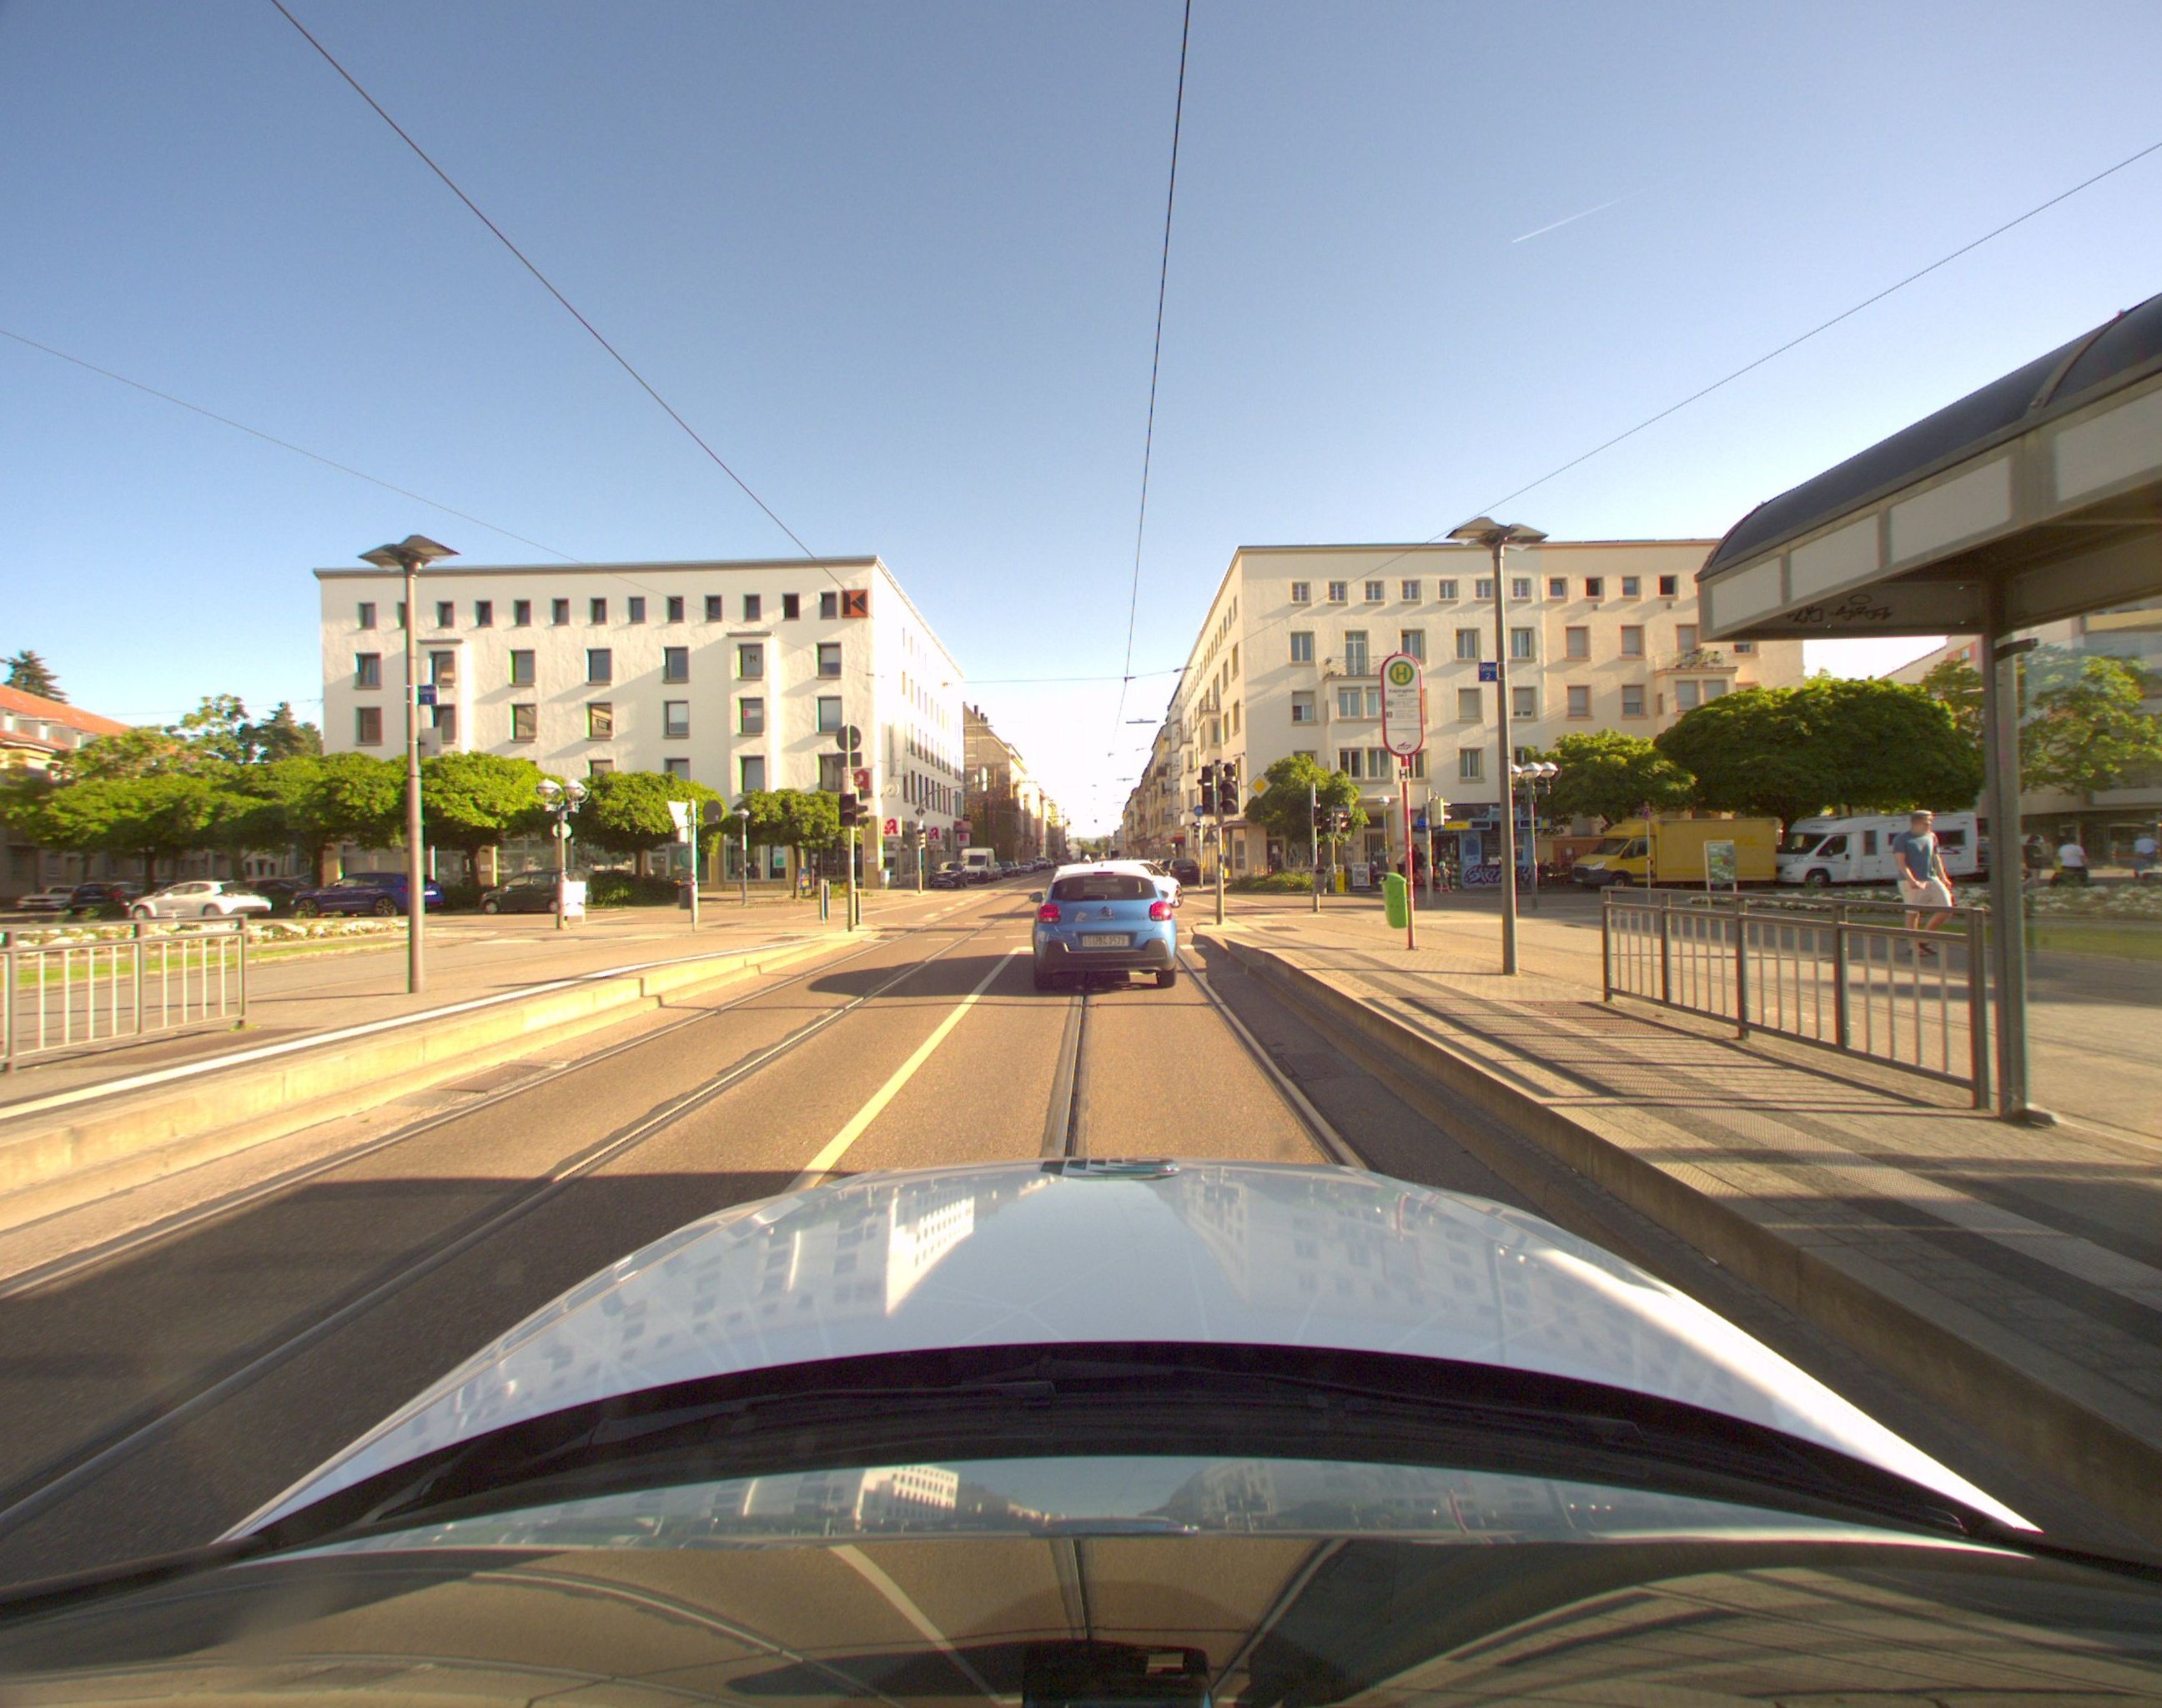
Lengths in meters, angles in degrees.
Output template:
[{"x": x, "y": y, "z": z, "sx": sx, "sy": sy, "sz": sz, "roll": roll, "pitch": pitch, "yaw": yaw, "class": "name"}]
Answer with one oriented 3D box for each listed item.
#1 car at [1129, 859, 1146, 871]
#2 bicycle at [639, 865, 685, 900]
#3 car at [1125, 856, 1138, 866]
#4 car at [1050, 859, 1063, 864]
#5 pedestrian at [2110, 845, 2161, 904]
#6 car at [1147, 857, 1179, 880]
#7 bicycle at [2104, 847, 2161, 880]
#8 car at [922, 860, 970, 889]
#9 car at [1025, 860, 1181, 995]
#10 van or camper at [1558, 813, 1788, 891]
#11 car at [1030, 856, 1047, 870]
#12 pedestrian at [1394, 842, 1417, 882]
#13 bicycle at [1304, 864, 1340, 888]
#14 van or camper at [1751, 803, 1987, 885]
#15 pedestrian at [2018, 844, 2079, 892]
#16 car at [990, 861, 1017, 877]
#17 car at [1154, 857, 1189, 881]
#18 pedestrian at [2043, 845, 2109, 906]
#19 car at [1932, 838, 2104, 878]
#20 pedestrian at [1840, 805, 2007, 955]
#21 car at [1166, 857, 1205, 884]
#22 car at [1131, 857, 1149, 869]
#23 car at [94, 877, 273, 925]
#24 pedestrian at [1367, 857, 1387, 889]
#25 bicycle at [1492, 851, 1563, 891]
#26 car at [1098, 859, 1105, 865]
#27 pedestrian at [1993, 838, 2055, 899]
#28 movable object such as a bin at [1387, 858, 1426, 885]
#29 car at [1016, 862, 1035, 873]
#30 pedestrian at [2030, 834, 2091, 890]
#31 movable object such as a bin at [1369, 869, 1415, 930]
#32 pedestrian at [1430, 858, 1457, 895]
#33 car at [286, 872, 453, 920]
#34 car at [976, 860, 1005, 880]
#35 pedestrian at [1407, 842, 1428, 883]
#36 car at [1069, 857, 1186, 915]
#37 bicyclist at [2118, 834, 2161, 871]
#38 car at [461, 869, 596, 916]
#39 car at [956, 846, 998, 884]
[{"x": 7.163, "y": 1.403, "z": 104.091, "sx": 1.986, "sy": 1.464, "sz": 4.002, "roll": -1, "pitch": -1, "yaw": 2, "class": "car"}, {"x": -20.055, "y": 1.345, "z": 39.058, "sx": 0.615, "sy": 1.607, "sz": 2.624, "roll": -1, "pitch": -1, "yaw": 6, "class": "bicycle"}, {"x": 7.936, "y": 1.091, "z": 128.649, "sx": 1.986, "sy": 1.464, "sz": 4.002, "roll": -1, "pitch": -1, "yaw": 2, "class": "car"}, {"x": -5.353, "y": 1.703, "z": 180.538, "sx": 1.981, "sy": 1.156, "sz": 4.528, "roll": -1, "pitch": 0, "yaw": 11, "class": "car"}, {"x": 28.989, "y": 0.545, "z": 22.219, "sx": 0.897, "sy": 1.585, "sz": 0.663, "roll": -1, "pitch": -1, "yaw": 5, "class": "pedestrian"}, {"x": 5.841, "y": 1.009, "z": 58.313, "sx": 1.986, "sy": 1.501, "sz": 4.002, "roll": -1, "pitch": -1, "yaw": 2, "class": "car"}, {"x": 35.697, "y": 0.322, "z": 27.208, "sx": 2.310, "sy": 1.061, "sz": 0.720, "roll": 0, "pitch": 0, "yaw": -4, "class": "bicycle"}, {"x": -7.896, "y": 1.183, "z": 48.092, "sx": 1.987, "sy": 1.569, "sz": 4.403, "roll": 2, "pitch": -1, "yaw": 1, "class": "car"}, {"x": 0.295, "y": 0.836, "z": 10.971, "sx": 1.721, "sy": 1.482, "sz": 3.828, "roll": 0, "pitch": 0, "yaw": 1, "class": "car"}, {"x": 22.648, "y": -0.094, "z": 31.411, "sx": 7.094, "sy": 2.747, "sz": 2.372, "roll": -1, "pitch": 1, "yaw": 2, "class": "van or camper"}, {"x": -6.425, "y": 1.351, "z": 122.648, "sx": 1.997, "sy": 2.014, "sz": 4.693, "roll": 0, "pitch": -1, "yaw": 3, "class": "car"}, {"x": 15.001, "y": 0.358, "z": 37.610, "sx": 0.781, "sy": 1.839, "sz": 0.679, "roll": -1, "pitch": -1, "yaw": 4, "class": "pedestrian"}, {"x": 11.204, "y": 1.020, "z": 37.861, "sx": 1.556, "sy": 1.120, "sz": 0.301, "roll": -1, "pitch": -1, "yaw": 12, "class": "bicycle"}, {"x": 29.913, "y": -0.347, "z": 31.124, "sx": 6.375, "sy": 2.839, "sz": 2.381, "roll": -1, "pitch": -1, "yaw": 5, "class": "van or camper"}, {"x": 26.857, "y": 0.380, "z": 22.616, "sx": 0.897, "sy": 1.279, "sz": 0.605, "roll": -1, "pitch": -1, "yaw": 4, "class": "pedestrian"}, {"x": -6.979, "y": 1.390, "z": 73.890, "sx": 1.987, "sy": 1.398, "sz": 4.157, "roll": 0, "pitch": -1, "yaw": 1, "class": "car"}, {"x": 5.860, "y": 0.946, "z": 53.079, "sx": 1.986, "sy": 1.464, "sz": 4.002, "roll": -1, "pitch": -1, "yaw": 2, "class": "car"}, {"x": 26.819, "y": 0.574, "z": 21.963, "sx": 0.897, "sy": 1.585, "sz": 0.663, "roll": -1, "pitch": -1, "yaw": 5, "class": "pedestrian"}, {"x": 36.457, "y": 0.180, "z": 31.813, "sx": 3.959, "sy": 1.512, "sz": 2.007, "roll": -1, "pitch": -1, "yaw": 13, "class": "car"}, {"x": 11.127, "y": 0.337, "z": 10.812, "sx": 0.978, "sy": 1.878, "sz": 1.128, "roll": -1, "pitch": -2, "yaw": -1, "class": "pedestrian"}, {"x": 6.063, "y": 0.952, "z": 47.795, "sx": 1.902, "sy": 1.464, "sz": 4.002, "roll": -1, "pitch": -1, "yaw": 2, "class": "car"}, {"x": 7.072, "y": 1.070, "z": 97.542, "sx": 1.986, "sy": 1.464, "sz": 4.507, "roll": -1, "pitch": 0, "yaw": 2, "class": "car"}, {"x": -33.722, "y": 1.742, "z": 30.686, "sx": 4.591, "sy": 1.606, "sz": 1.855, "roll": -1, "pitch": -1, "yaw": -1, "class": "car"}, {"x": 12.450, "y": 0.814, "z": 34.264, "sx": 0.733, "sy": 1.316, "sz": 0.631, "roll": -2, "pitch": -1, "yaw": 25, "class": "pedestrian"}, {"x": 17.509, "y": 0.663, "z": 31.964, "sx": 2.376, "sy": 1.531, "sz": 0.726, "roll": 0, "pitch": 0, "yaw": 0, "class": "bicycle"}, {"x": 6.288, "y": 2.550, "z": 249.357, "sx": 1.986, "sy": 1.772, "sz": 4.001, "roll": -1, "pitch": 0, "yaw": 2, "class": "car"}, {"x": 27.011, "y": 0.409, "z": 23.331, "sx": 0.897, "sy": 1.685, "sz": 0.696, "roll": -1, "pitch": -1, "yaw": 5, "class": "pedestrian"}, {"x": 14.152, "y": 0.760, "z": 35.432, "sx": 1.194, "sy": 1.153, "sz": 1.218, "roll": -1, "pitch": -1, "yaw": 2, "class": "movable object such as a bin"}, {"x": -6.722, "y": 1.596, "z": 98.944, "sx": 1.987, "sy": 1.325, "sz": 3.923, "roll": 0, "pitch": -1, "yaw": 1, "class": "car"}, {"x": 28.482, "y": 0.219, "z": 23.690, "sx": 0.897, "sy": 1.585, "sz": 0.663, "roll": -1, "pitch": -1, "yaw": 5, "class": "pedestrian"}, {"x": 4.189, "y": 0.606, "z": 11.003, "sx": 0.447, "sy": 0.786, "sz": 0.489, "roll": -1, "pitch": -1, "yaw": 4, "class": "movable object such as a bin"}, {"x": 14.198, "y": 0.869, "z": 31.886, "sx": 0.727, "sy": 1.409, "sz": 0.755, "roll": -1, "pitch": 2, "yaw": 1, "class": "pedestrian"}, {"x": -27.395, "y": 1.576, "z": 31.468, "sx": 4.591, "sy": 1.662, "sz": 1.999, "roll": -1, "pitch": -1, "yaw": -1, "class": "car"}, {"x": -7.207, "y": 1.263, "z": 65.040, "sx": 1.881, "sy": 1.496, "sz": 3.562, "roll": 0, "pitch": -1, "yaw": 1, "class": "car"}, {"x": 15.071, "y": 0.380, "z": 36.448, "sx": 0.650, "sy": 1.839, "sz": 0.660, "roll": -1, "pitch": -1, "yaw": 5, "class": "pedestrian"}, {"x": 1.487, "y": 0.856, "z": 23.529, "sx": 1.967, "sy": 1.464, "sz": 4.840, "roll": -2, "pitch": -1, "yaw": 21, "class": "car"}, {"x": 35.673, "y": -0.053, "z": 27.184, "sx": 0.928, "sy": 1.225, "sz": 0.953, "roll": 0, "pitch": 0, "yaw": -2, "class": "bicyclist"}, {"x": -21.454, "y": 1.475, "z": 31.739, "sx": 3.973, "sy": 1.706, "sz": 1.826, "roll": -1, "pitch": -1, "yaw": 1, "class": "car"}, {"x": -7.383, "y": 0.784, "z": 58.453, "sx": 2.078, "sy": 2.542, "sz": 6.205, "roll": 0, "pitch": 0, "yaw": 1, "class": "car"}]
